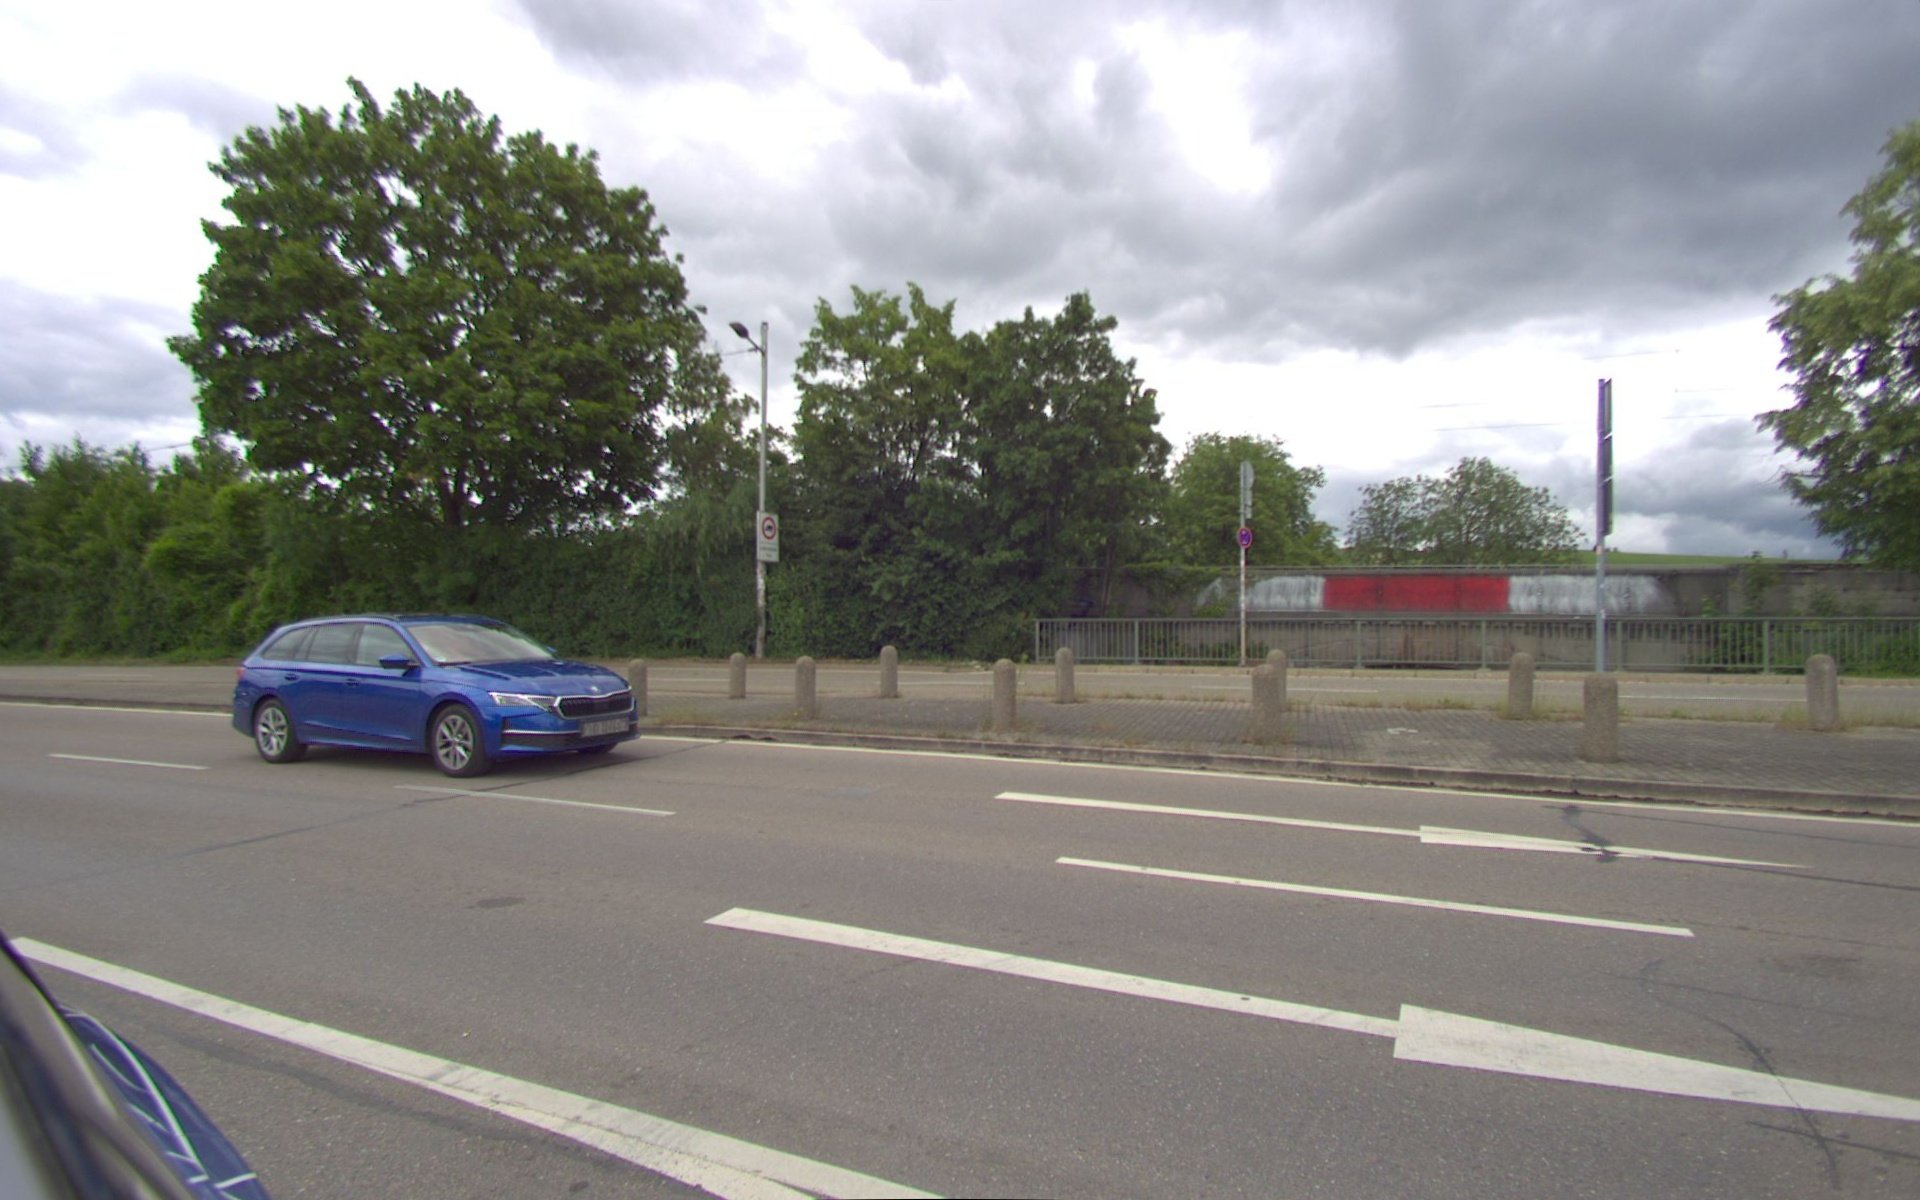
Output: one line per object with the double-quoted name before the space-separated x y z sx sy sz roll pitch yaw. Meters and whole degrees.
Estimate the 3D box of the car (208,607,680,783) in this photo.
"car" -5.187 0.827 10.083 4.555 1.427 1.828 -1 -1 26
